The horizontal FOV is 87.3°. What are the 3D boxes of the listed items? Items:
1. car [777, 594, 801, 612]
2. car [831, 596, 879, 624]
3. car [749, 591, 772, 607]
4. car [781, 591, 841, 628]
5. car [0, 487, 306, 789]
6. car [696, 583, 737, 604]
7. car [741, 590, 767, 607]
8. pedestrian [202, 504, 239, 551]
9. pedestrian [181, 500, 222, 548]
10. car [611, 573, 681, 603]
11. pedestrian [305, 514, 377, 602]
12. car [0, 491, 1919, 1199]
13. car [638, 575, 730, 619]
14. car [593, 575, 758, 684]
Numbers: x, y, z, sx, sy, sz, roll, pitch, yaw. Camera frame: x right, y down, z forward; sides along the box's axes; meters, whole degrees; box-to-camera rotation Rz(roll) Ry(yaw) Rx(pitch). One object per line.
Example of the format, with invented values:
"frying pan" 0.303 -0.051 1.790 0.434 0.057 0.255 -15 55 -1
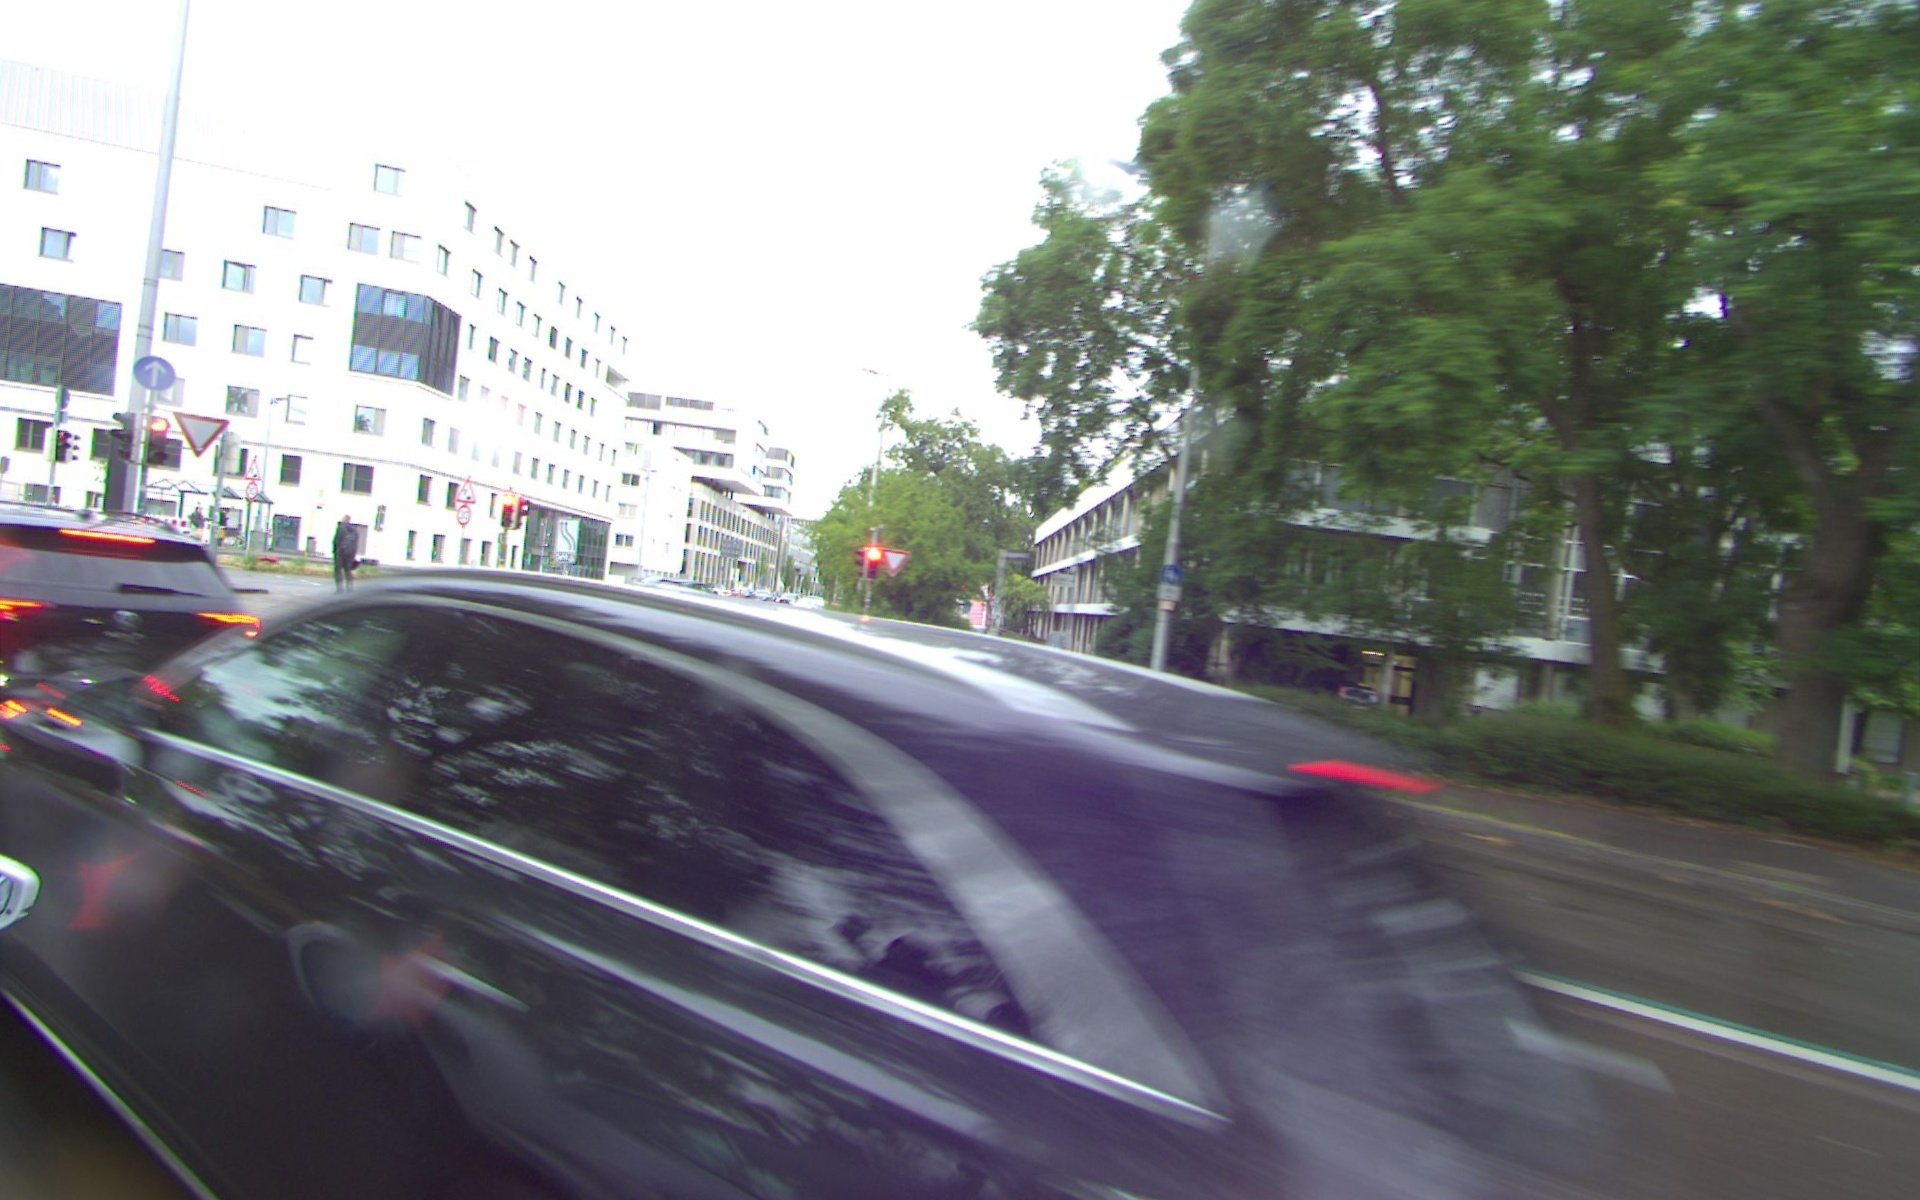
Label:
"car" -16.433 0.288 96.683 1.766 1.461 3.996 8 0 -6
"car" -7.945 0.787 76.571 1.833 1.669 4.782 6 -2 17
"car" -20.659 -0.084 104.297 1.966 1.395 4.382 7 -1 -7
"car" -8.741 0.604 59.542 1.832 1.669 4.783 7 -2 11
"car" -6.416 0.005 6.625 4.437 1.484 1.673 8 0 31
"car" -25.161 -0.695 103.766 4.004 1.575 1.960 6 -2 39
"car" -19.699 -0.126 96.305 1.966 1.395 4.382 7 -1 -7
"pedestrian" -33.270 -3.239 45.259 0.941 1.958 1.000 5 -2 42
"pedestrian" -32.396 -3.228 42.961 0.808 1.861 0.954 6 -1 22
"car" -19.502 -0.716 62.691 1.962 1.395 4.390 7 -1 16
"pedestrian" -14.530 -0.985 23.623 1.009 1.914 0.830 6 -1 24
"car" -1.035 0.660 2.711 4.851 1.462 1.882 7 -2 34
"car" -12.108 -0.089 44.336 1.833 1.437 4.004 6 -3 20
"car" -5.339 0.476 18.488 1.849 1.467 3.968 8 0 -30
